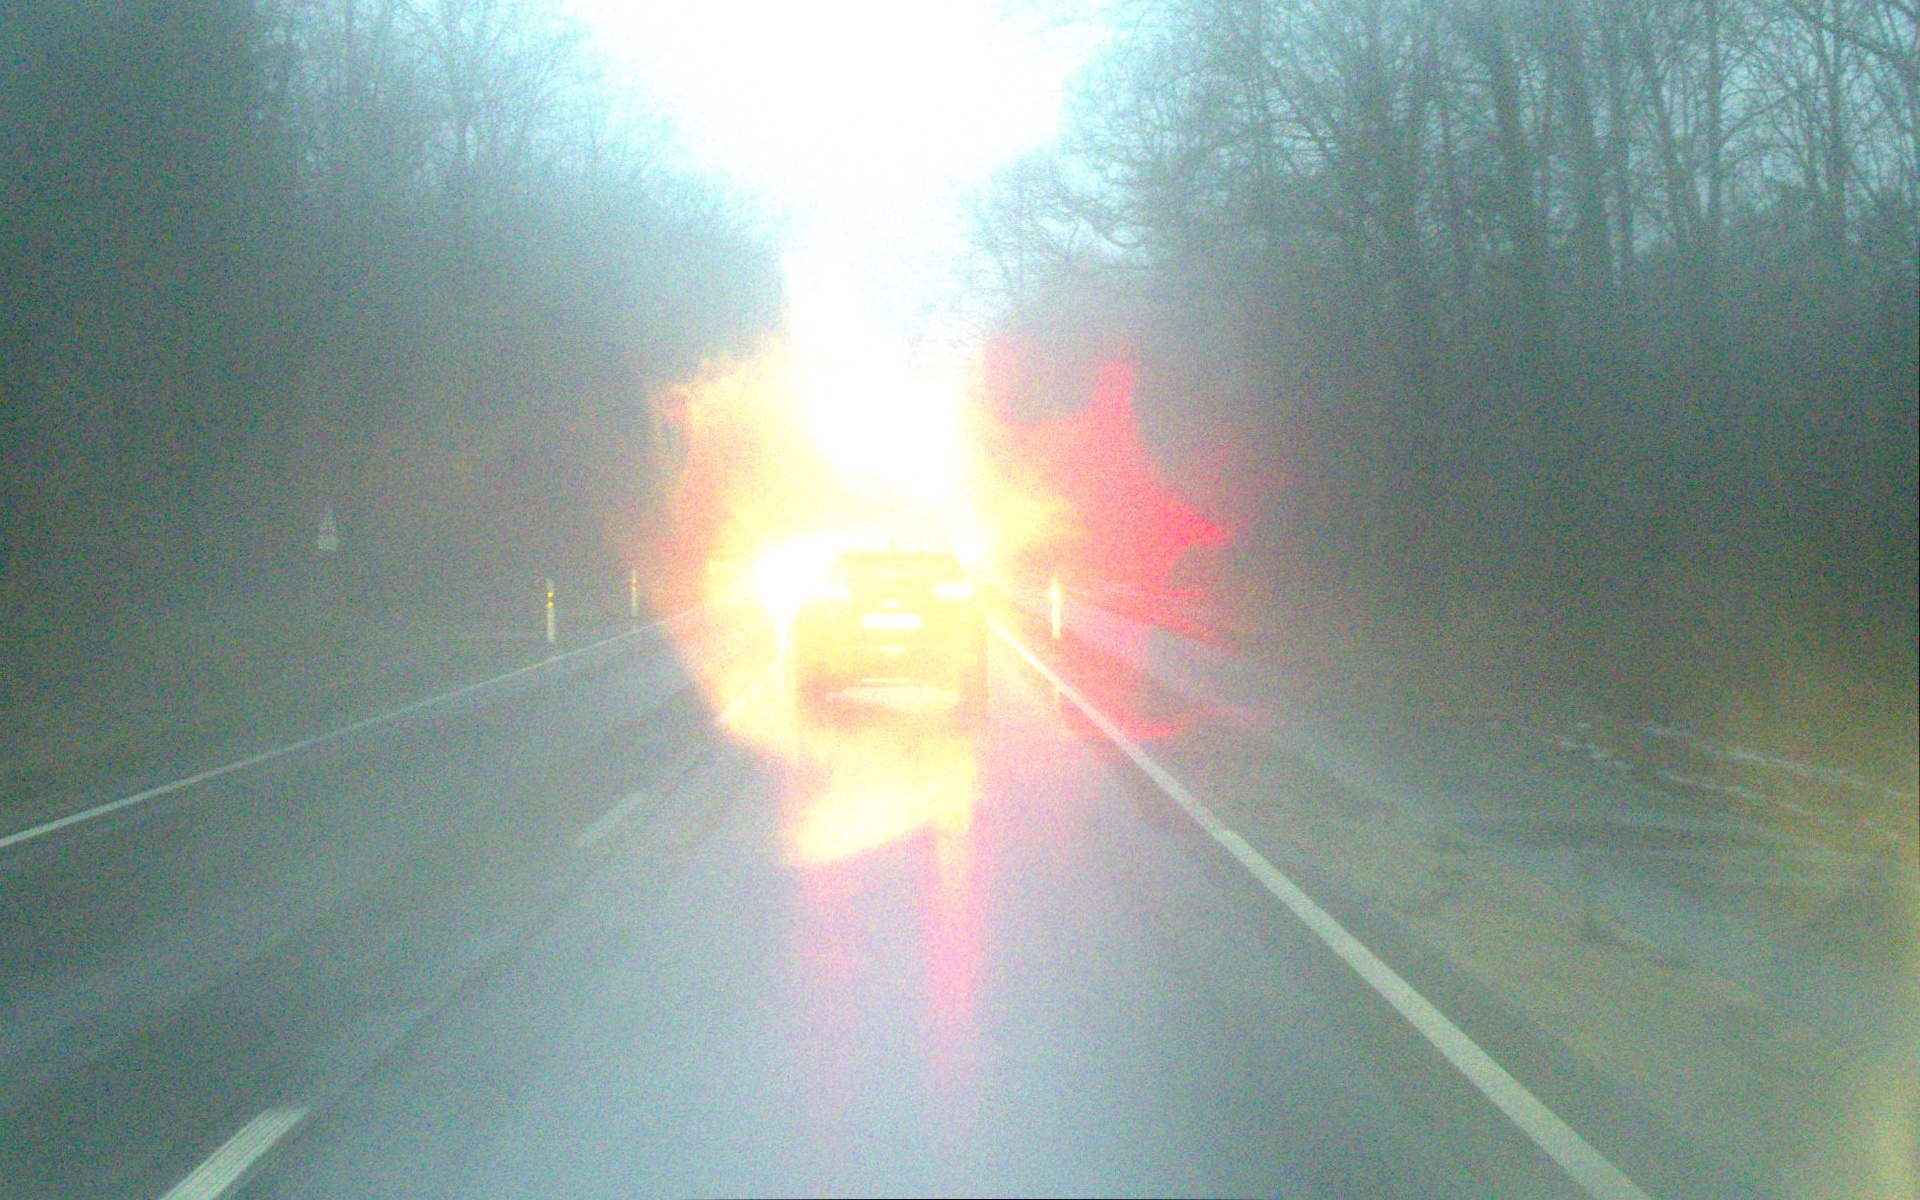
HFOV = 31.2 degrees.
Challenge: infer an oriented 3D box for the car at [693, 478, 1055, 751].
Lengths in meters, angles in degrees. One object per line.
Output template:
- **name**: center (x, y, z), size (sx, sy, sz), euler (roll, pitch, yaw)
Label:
- **car**: center (-0.756, 0.083, 33.763), size (3.183, 2.378, 6.636), euler (1, 1, 0)
